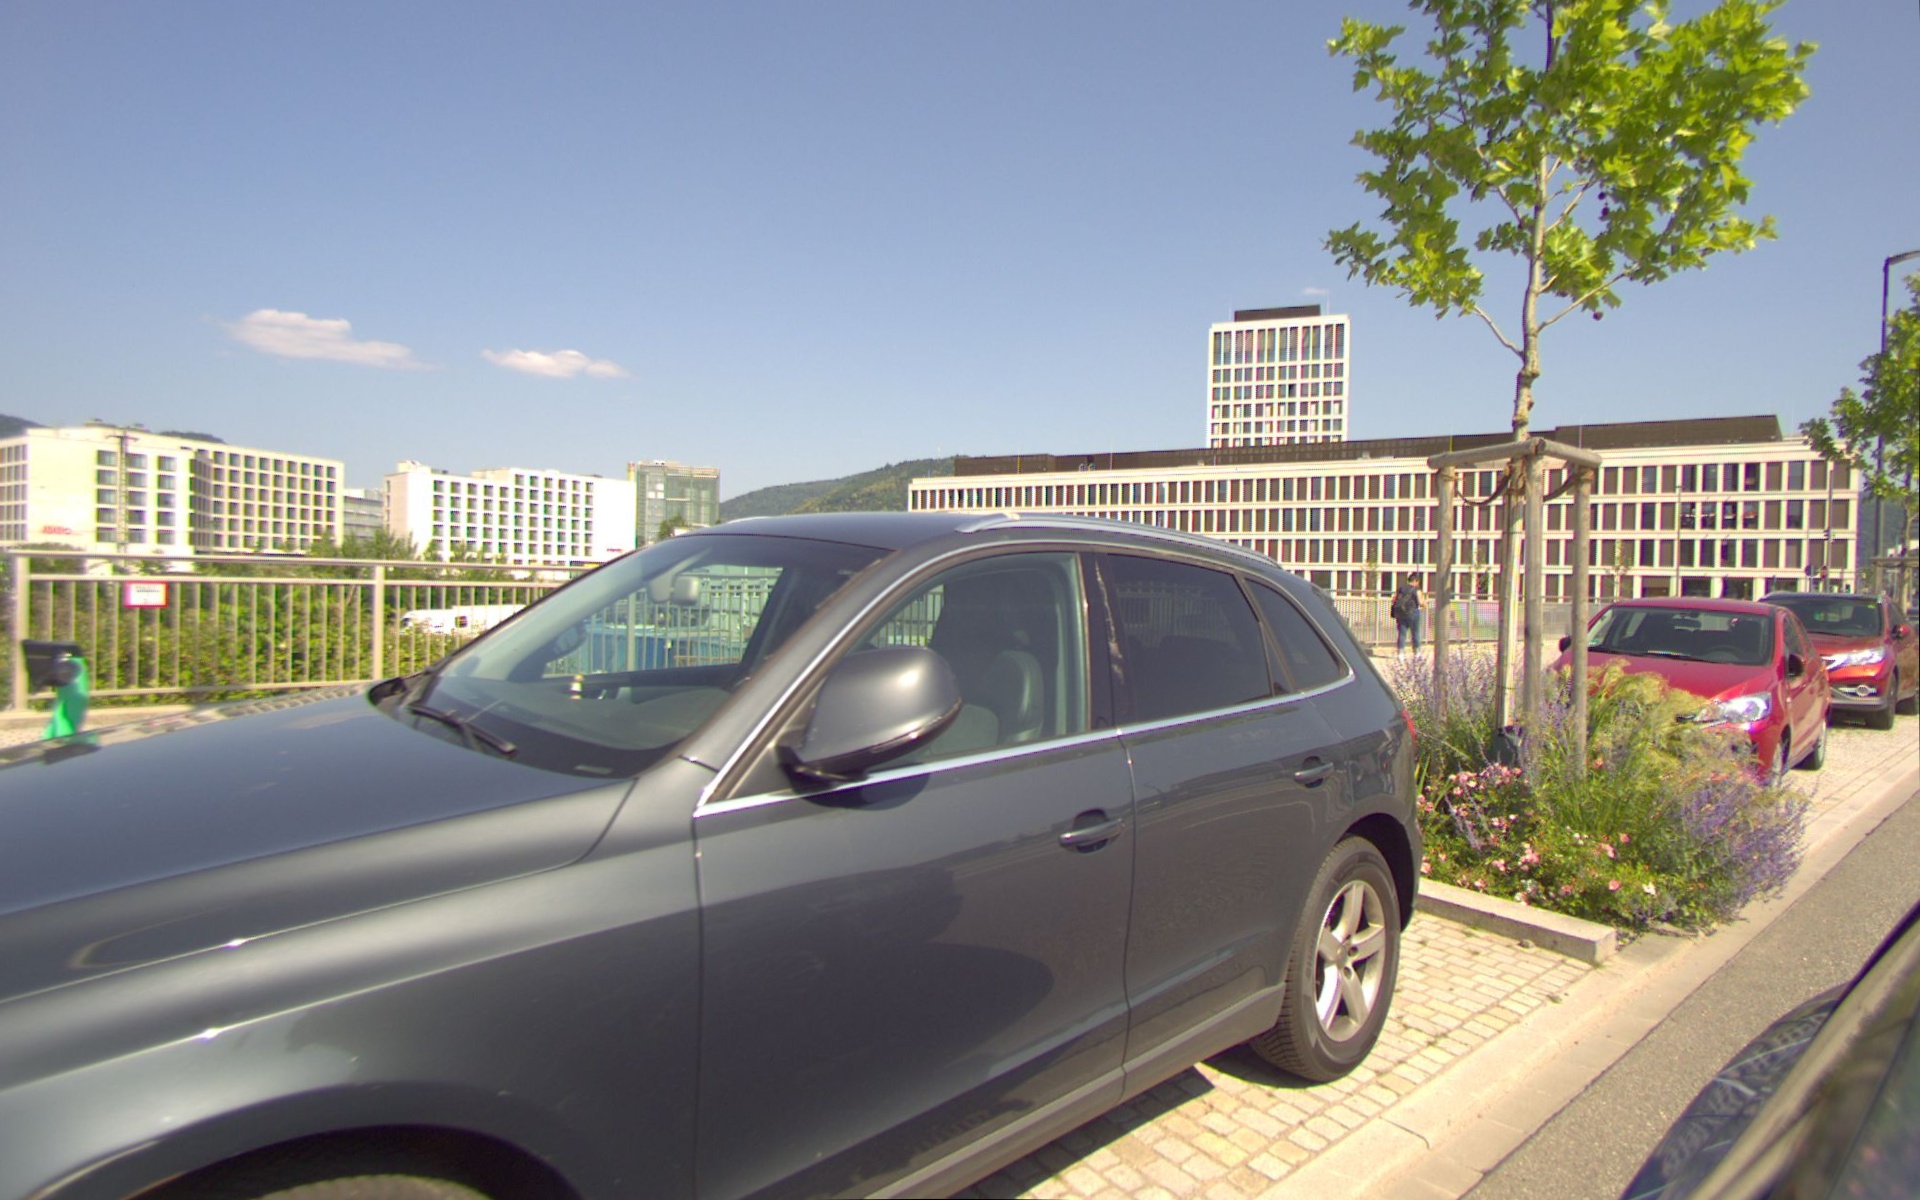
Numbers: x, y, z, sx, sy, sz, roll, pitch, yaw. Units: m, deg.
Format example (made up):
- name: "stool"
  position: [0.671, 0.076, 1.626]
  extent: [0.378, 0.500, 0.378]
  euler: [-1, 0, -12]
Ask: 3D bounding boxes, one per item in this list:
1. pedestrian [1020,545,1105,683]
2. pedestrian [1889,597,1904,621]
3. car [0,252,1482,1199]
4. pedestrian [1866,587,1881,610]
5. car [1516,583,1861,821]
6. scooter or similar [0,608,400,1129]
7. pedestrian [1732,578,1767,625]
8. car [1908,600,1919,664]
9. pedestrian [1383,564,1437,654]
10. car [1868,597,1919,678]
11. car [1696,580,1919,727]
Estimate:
- name: "pedestrian"
  position: [1.334, 0.168, 13.206]
  extent: [0.728, 1.726, 0.782]
  euler: [1, 1, -40]
- name: "pedestrian"
  position: [74.152, 0.684, 80.137]
  extent: [0.877, 1.849, 1.639]
  euler: [0, 0, 42]
- name: "car"
  position: [-0.427, 0.436, 2.611]
  extent: [4.168, 1.628, 1.738]
  euler: [0, 3, -42]
- name: "pedestrian"
  position: [73.862, -0.105, 81.835]
  extent: [0.823, 1.805, 0.913]
  euler: [2, 2, 41]
- name: "car"
  position: [6.271, 0.666, 8.551]
  extent: [3.754, 1.510, 1.606]
  euler: [0, 3, -43]
- name: "scooter or similar"
  position: [-2.254, 0.638, 2.709]
  extent: [1.239, 1.209, 0.489]
  euler: [0, 1, -41]
- name: "pedestrian"
  position: [28.273, 0.049, 36.240]
  extent: [0.932, 1.628, 0.752]
  euler: [0, 3, -41]
- name: "car"
  position: [24.677, 0.798, 24.543]
  extent: [4.083, 1.497, 1.913]
  euler: [1, 1, -39]
- name: "pedestrian"
  position: [8.804, 0.163, 19.805]
  extent: [0.639, 1.726, 0.733]
  euler: [-1, 0, -40]
- name: "car"
  position: [19.358, 0.725, 19.952]
  extent: [3.755, 1.497, 1.624]
  euler: [1, 1, -40]
- name: "car"
  position: [11.756, 0.619, 13.632]
  extent: [4.466, 1.637, 1.913]
  euler: [1, 1, -40]
